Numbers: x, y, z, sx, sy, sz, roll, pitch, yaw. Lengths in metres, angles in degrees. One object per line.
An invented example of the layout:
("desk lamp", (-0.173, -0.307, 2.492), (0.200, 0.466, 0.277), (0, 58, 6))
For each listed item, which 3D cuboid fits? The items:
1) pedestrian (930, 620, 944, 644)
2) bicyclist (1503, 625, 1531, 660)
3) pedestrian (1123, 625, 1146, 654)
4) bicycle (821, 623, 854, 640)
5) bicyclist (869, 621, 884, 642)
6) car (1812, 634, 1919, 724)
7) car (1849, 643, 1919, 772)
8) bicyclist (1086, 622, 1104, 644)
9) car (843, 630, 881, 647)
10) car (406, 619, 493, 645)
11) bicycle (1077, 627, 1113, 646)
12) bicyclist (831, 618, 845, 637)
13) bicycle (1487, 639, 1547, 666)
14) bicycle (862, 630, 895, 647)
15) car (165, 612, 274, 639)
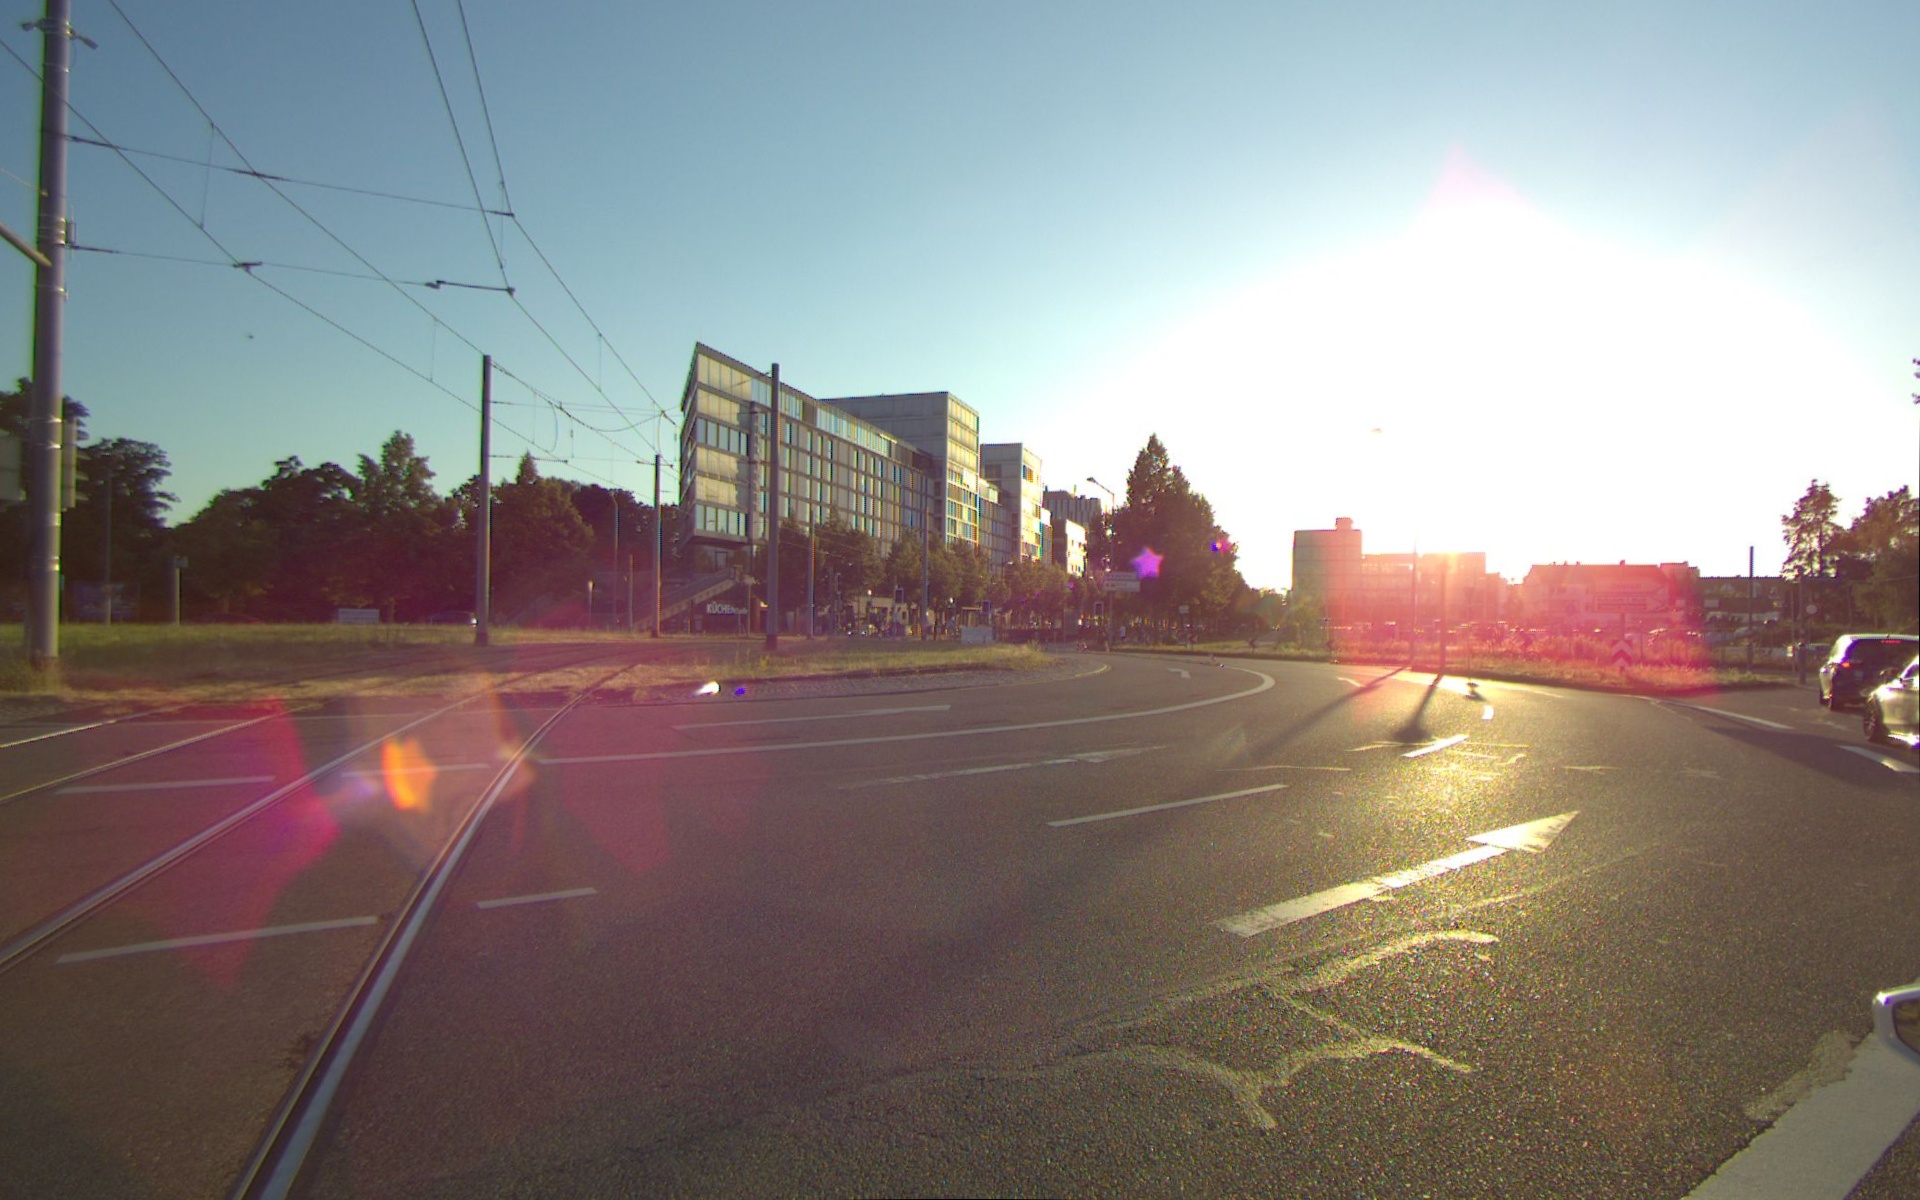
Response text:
("pedestrian", (-1.749, 2.441, 76.681), (0.870, 1.730, 0.795), (1, -1, 12))
("bicyclist", (26.077, 1.989, 47.029), (0.964, 1.634, 0.750), (0, -2, 44))
("pedestrian", (11.479, 2.578, 66.169), (1.144, 1.851, 0.975), (0, -1, 40))
("bicycle", (-9.319, 2.397, 76.381), (2.360, 1.182, 0.755), (1, -1, 9))
("bicyclist", (-6.285, 2.394, 75.875), (0.959, 1.545, 0.755), (1, -1, 6))
("car", (19.492, 1.641, 21.302), (1.927, 1.623, 4.061), (4, 0, 38))
("car", (12.630, 1.316, 12.267), (1.924, 1.446, 4.418), (3, 0, 33))
("bicyclist", (9.099, 2.224, 67.711), (0.962, 1.412, 0.752), (0, -1, 36))
("car", (-9.826, 3.880, 101.089), (1.960, 1.565, 5.205), (1, -2, 16))
("car", (-30.294, 1.903, 59.726), (4.248, 1.451, 1.939), (1, -1, -15))
("bicycle", (9.095, 2.442, 67.731), (2.370, 1.182, 0.752), (0, -1, 36))
("bicyclist", (-9.266, 2.109, 76.385), (0.861, 1.411, 0.755), (1, -1, 9))
("bicycle", (26.070, 2.428, 47.046), (2.376, 1.182, 0.750), (0, -2, 44))
("bicycle", (-6.183, 2.898, 75.834), (2.361, 1.182, 0.755), (1, -1, 6))
("car", (-41.649, 1.458, 56.595), (4.523, 1.451, 1.937), (1, -1, -19))
